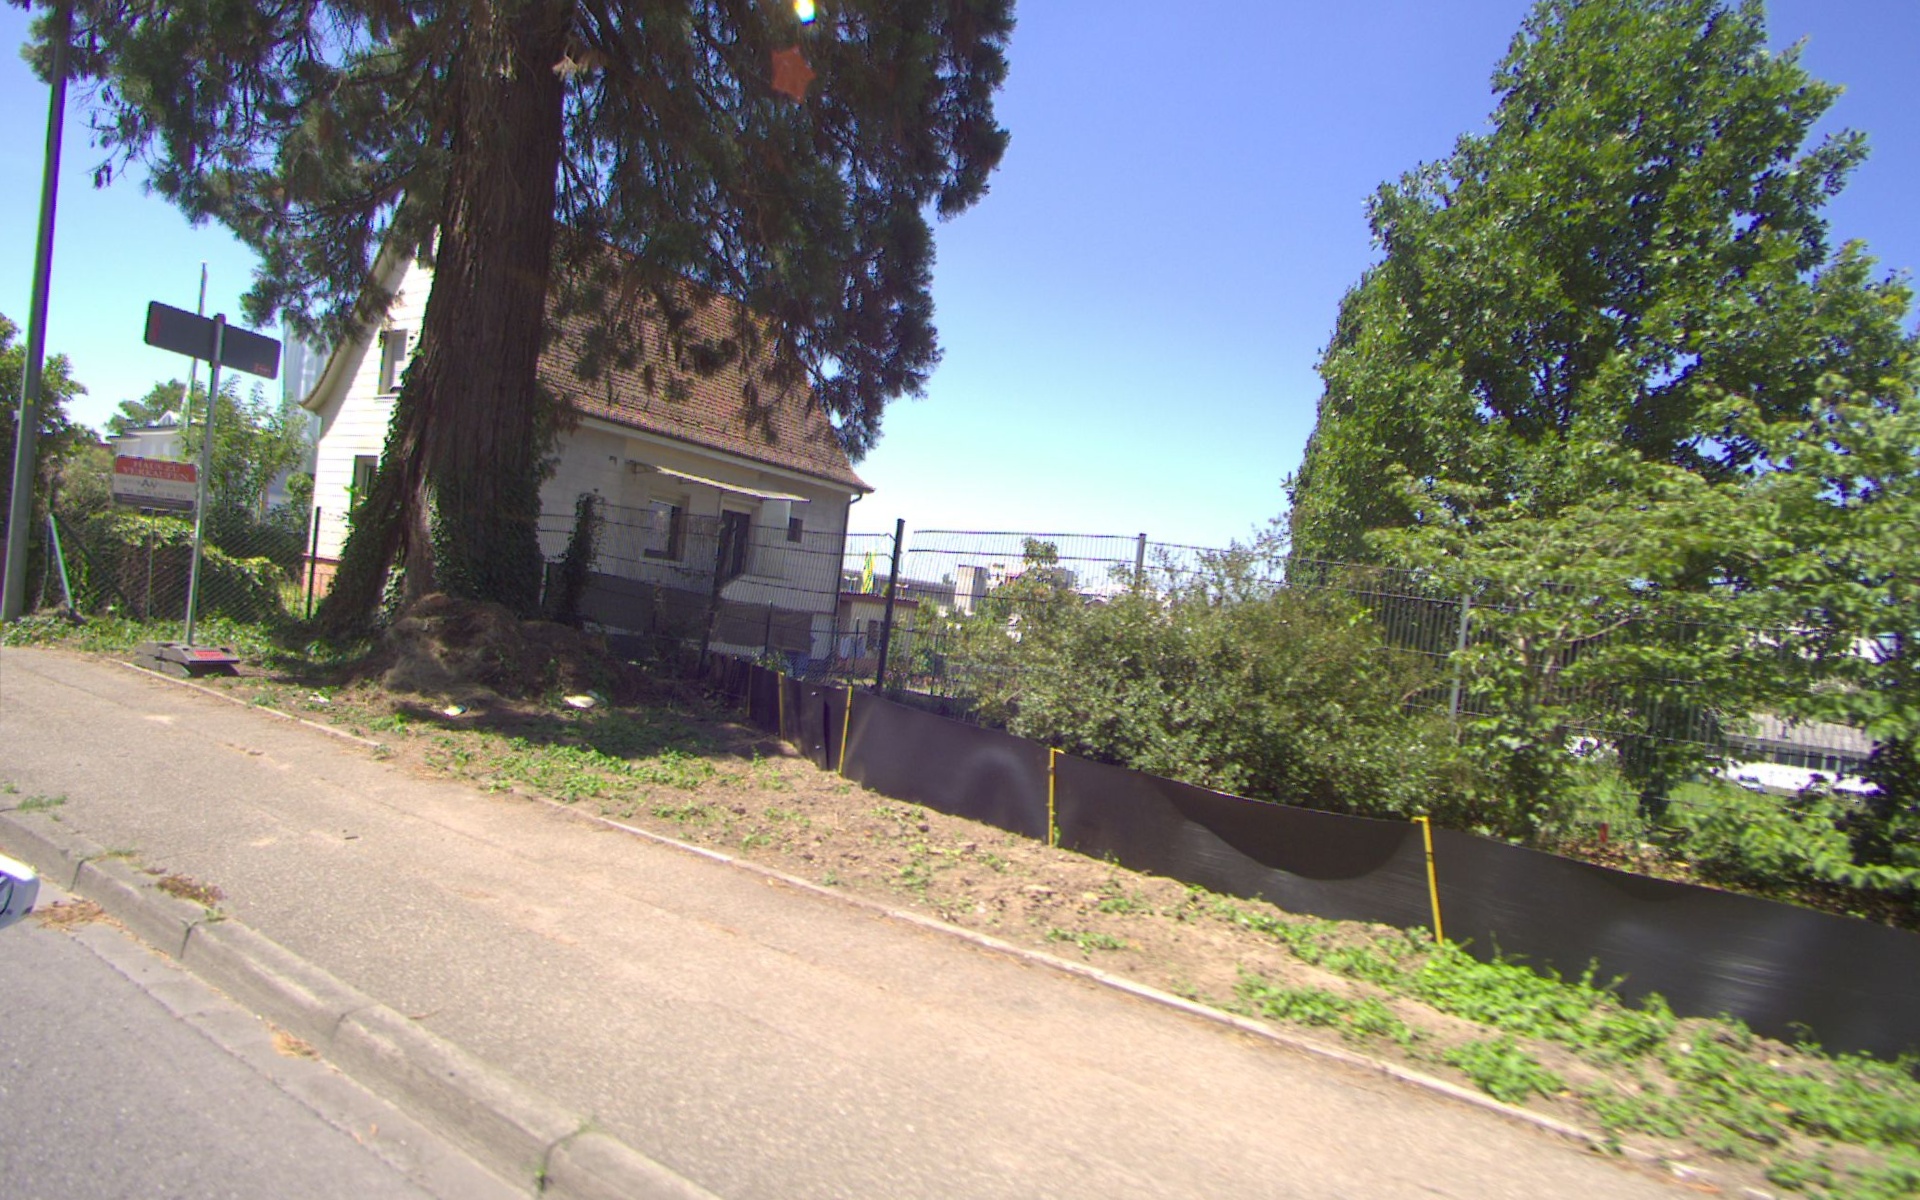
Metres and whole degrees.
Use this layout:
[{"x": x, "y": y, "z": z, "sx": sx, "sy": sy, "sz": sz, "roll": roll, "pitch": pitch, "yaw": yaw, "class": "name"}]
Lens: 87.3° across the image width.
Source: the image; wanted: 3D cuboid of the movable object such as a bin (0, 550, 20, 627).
[{"x": -12.004, "y": -0.166, "z": 12.326, "sx": 0.466, "sy": 0.938, "sz": 0.521, "roll": 9, "pitch": -2, "yaw": -24, "class": "movable object such as a bin"}]
